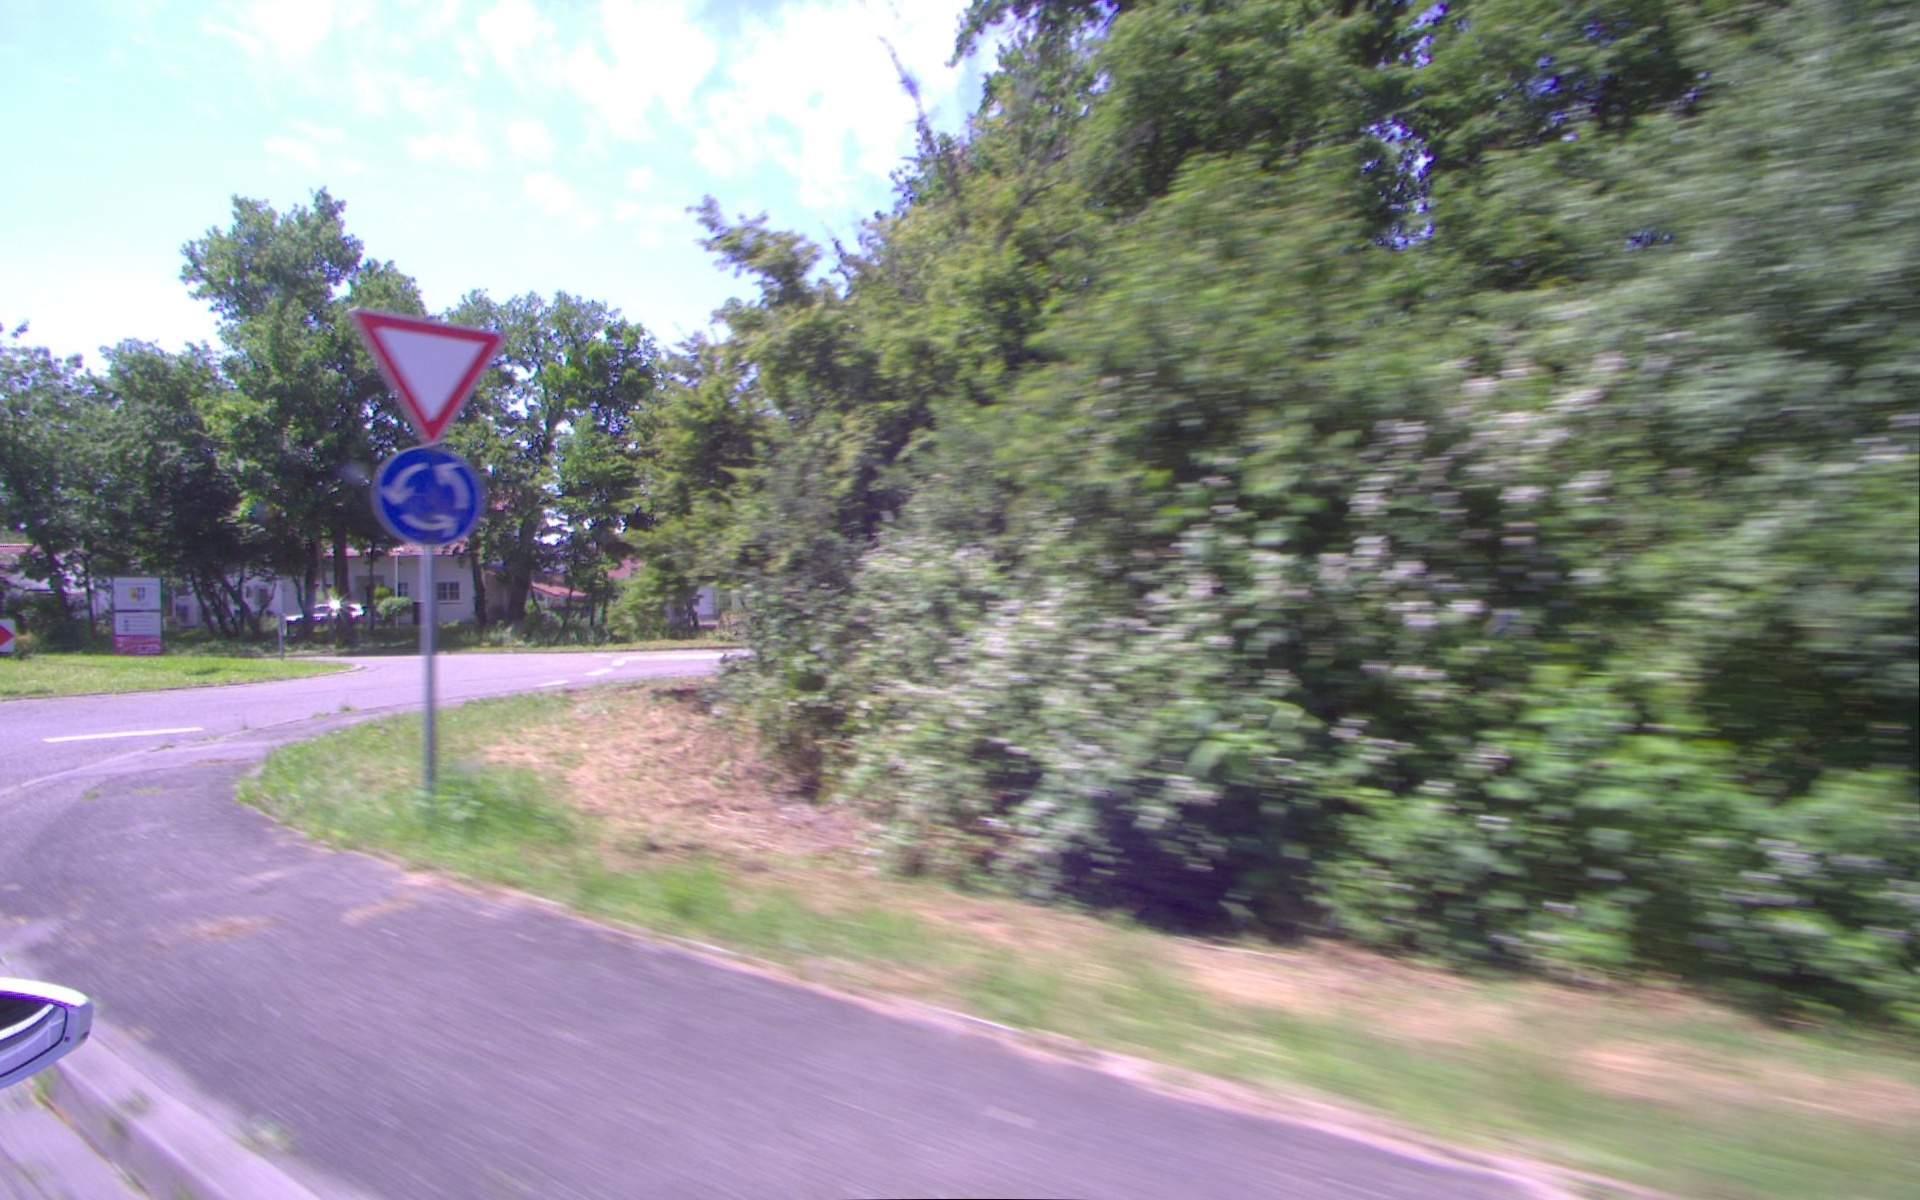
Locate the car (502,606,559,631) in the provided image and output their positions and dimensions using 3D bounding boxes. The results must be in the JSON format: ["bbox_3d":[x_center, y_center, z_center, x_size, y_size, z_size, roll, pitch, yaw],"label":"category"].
[{"bbox_3d":[-24.645,1.039,57.563,1.652,1.404,3.693,-1,0,-1],"label":"car"}]

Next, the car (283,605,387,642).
[{"bbox_3d":[-30.893,1.157,49.575,4.063,1.727,1.666,-1,0,-4],"label":"car"}]

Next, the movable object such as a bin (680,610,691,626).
[{"bbox_3d":[-19.338,1.283,70.585,0.646,1.127,0.457,-1,1,-4],"label":"movable object such as a bin"}]
